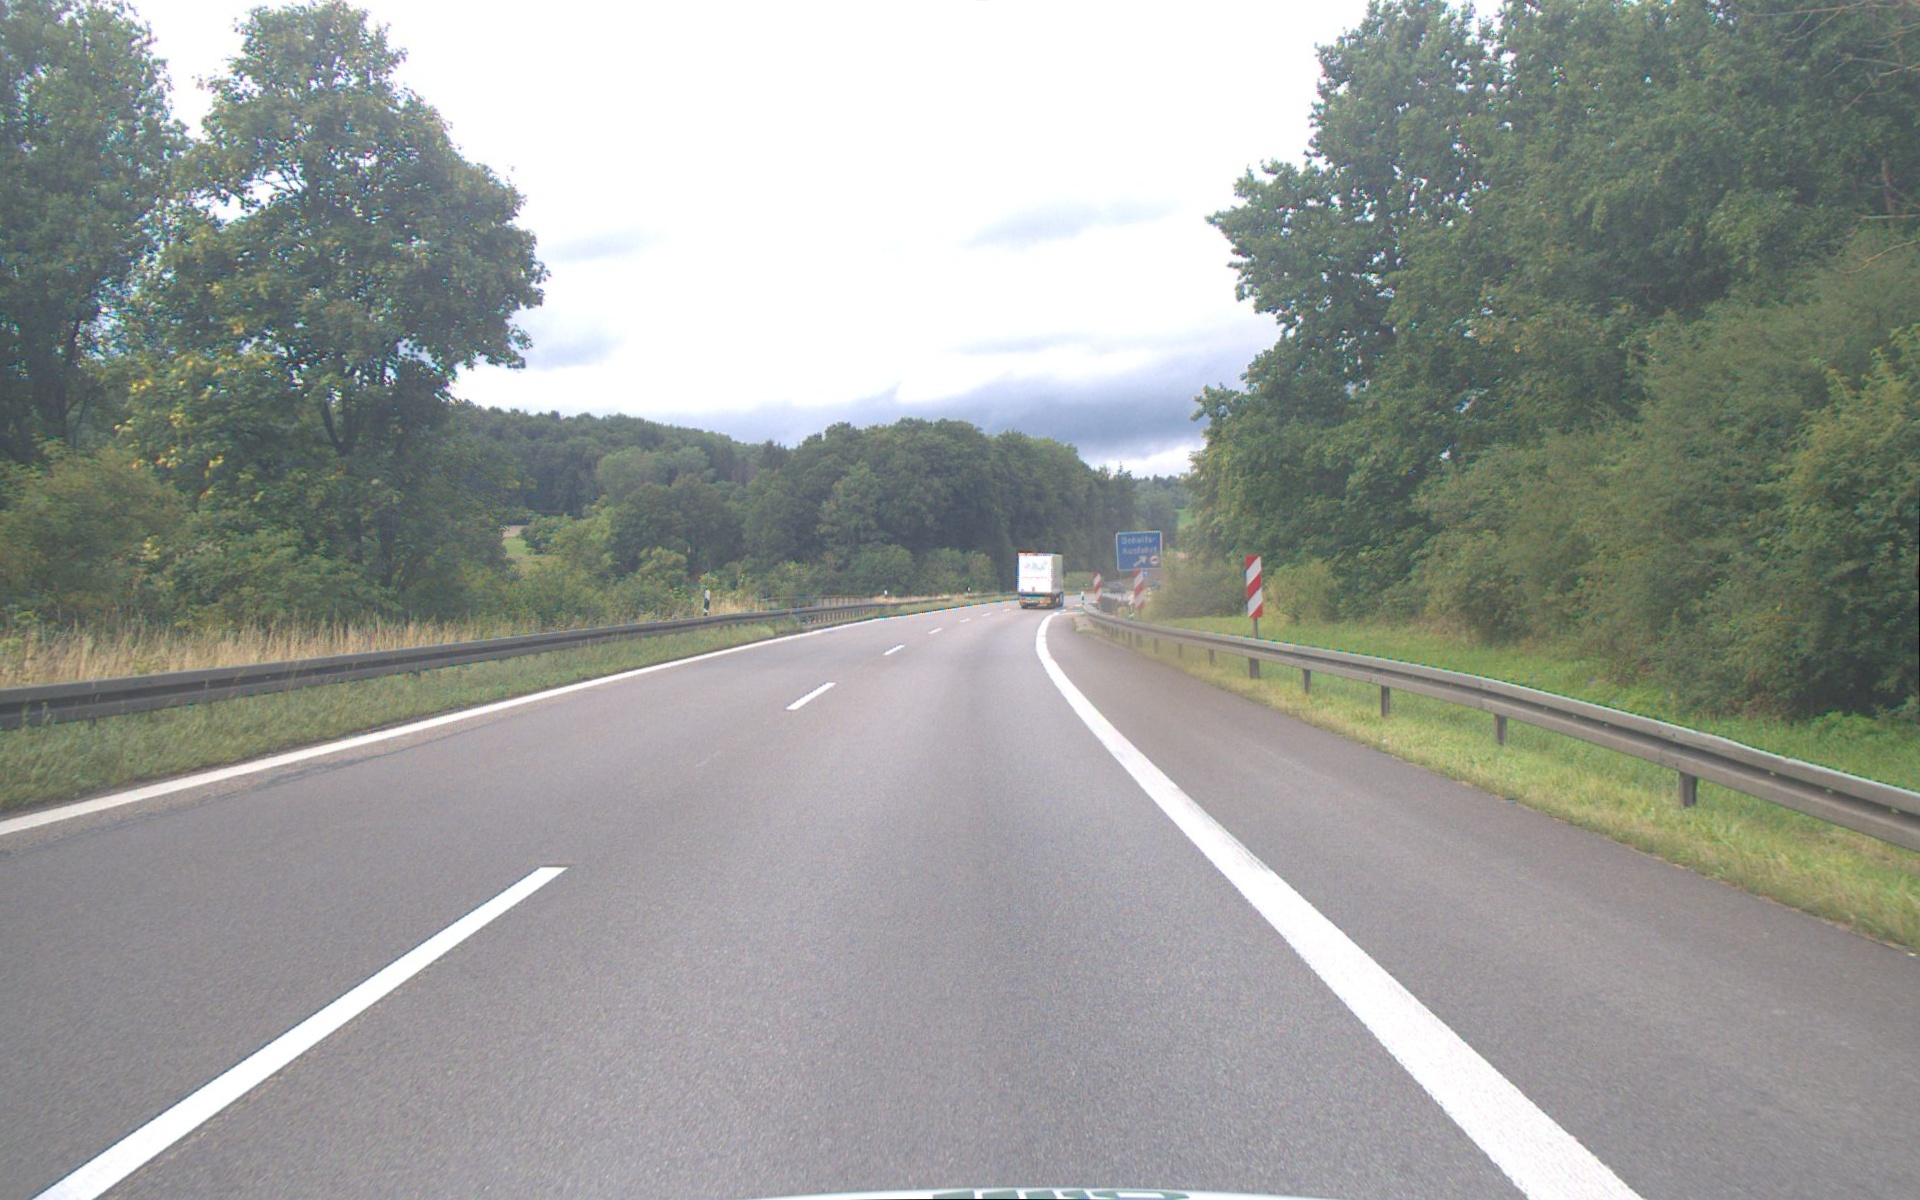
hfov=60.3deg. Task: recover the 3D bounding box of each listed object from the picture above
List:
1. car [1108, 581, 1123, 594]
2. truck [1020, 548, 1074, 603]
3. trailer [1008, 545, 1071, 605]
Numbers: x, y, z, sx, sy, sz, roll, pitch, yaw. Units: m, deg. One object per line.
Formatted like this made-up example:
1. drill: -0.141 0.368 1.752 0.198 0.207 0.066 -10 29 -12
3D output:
1. car: 22.444 -1.776 239.041 1.862 1.827 4.003 0 -1 9
2. truck: 7.027 -1.946 132.356 3.707 4.204 8.271 -1 1 7
3. trailer: 6.157 -1.857 124.987 3.725 4.247 14.820 0 1 7
